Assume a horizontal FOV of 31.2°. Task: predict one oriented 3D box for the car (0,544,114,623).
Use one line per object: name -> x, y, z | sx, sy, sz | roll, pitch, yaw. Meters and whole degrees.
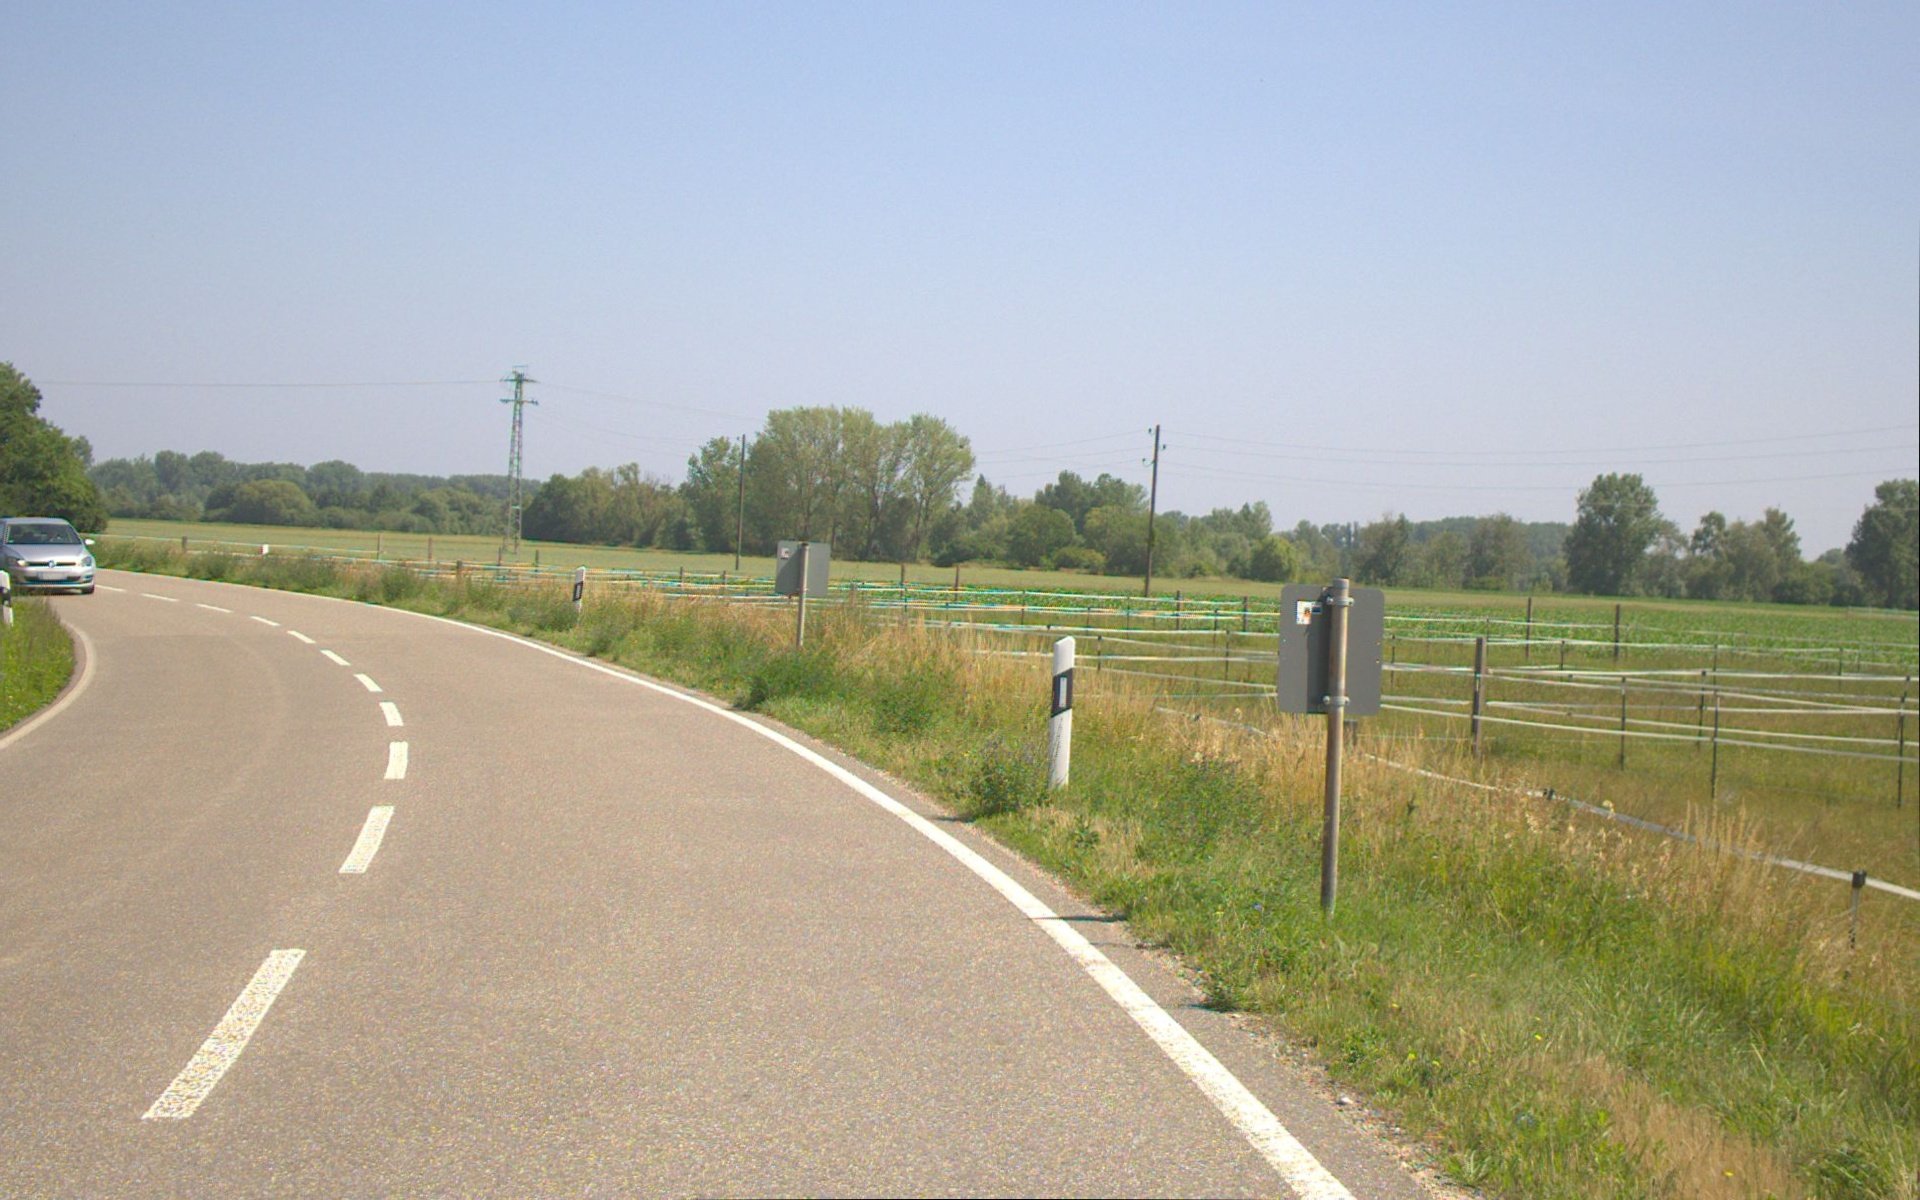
car -> -17.522, -0.341, 66.158 | 1.783, 1.422, 4.061 | -2, 2, -22
